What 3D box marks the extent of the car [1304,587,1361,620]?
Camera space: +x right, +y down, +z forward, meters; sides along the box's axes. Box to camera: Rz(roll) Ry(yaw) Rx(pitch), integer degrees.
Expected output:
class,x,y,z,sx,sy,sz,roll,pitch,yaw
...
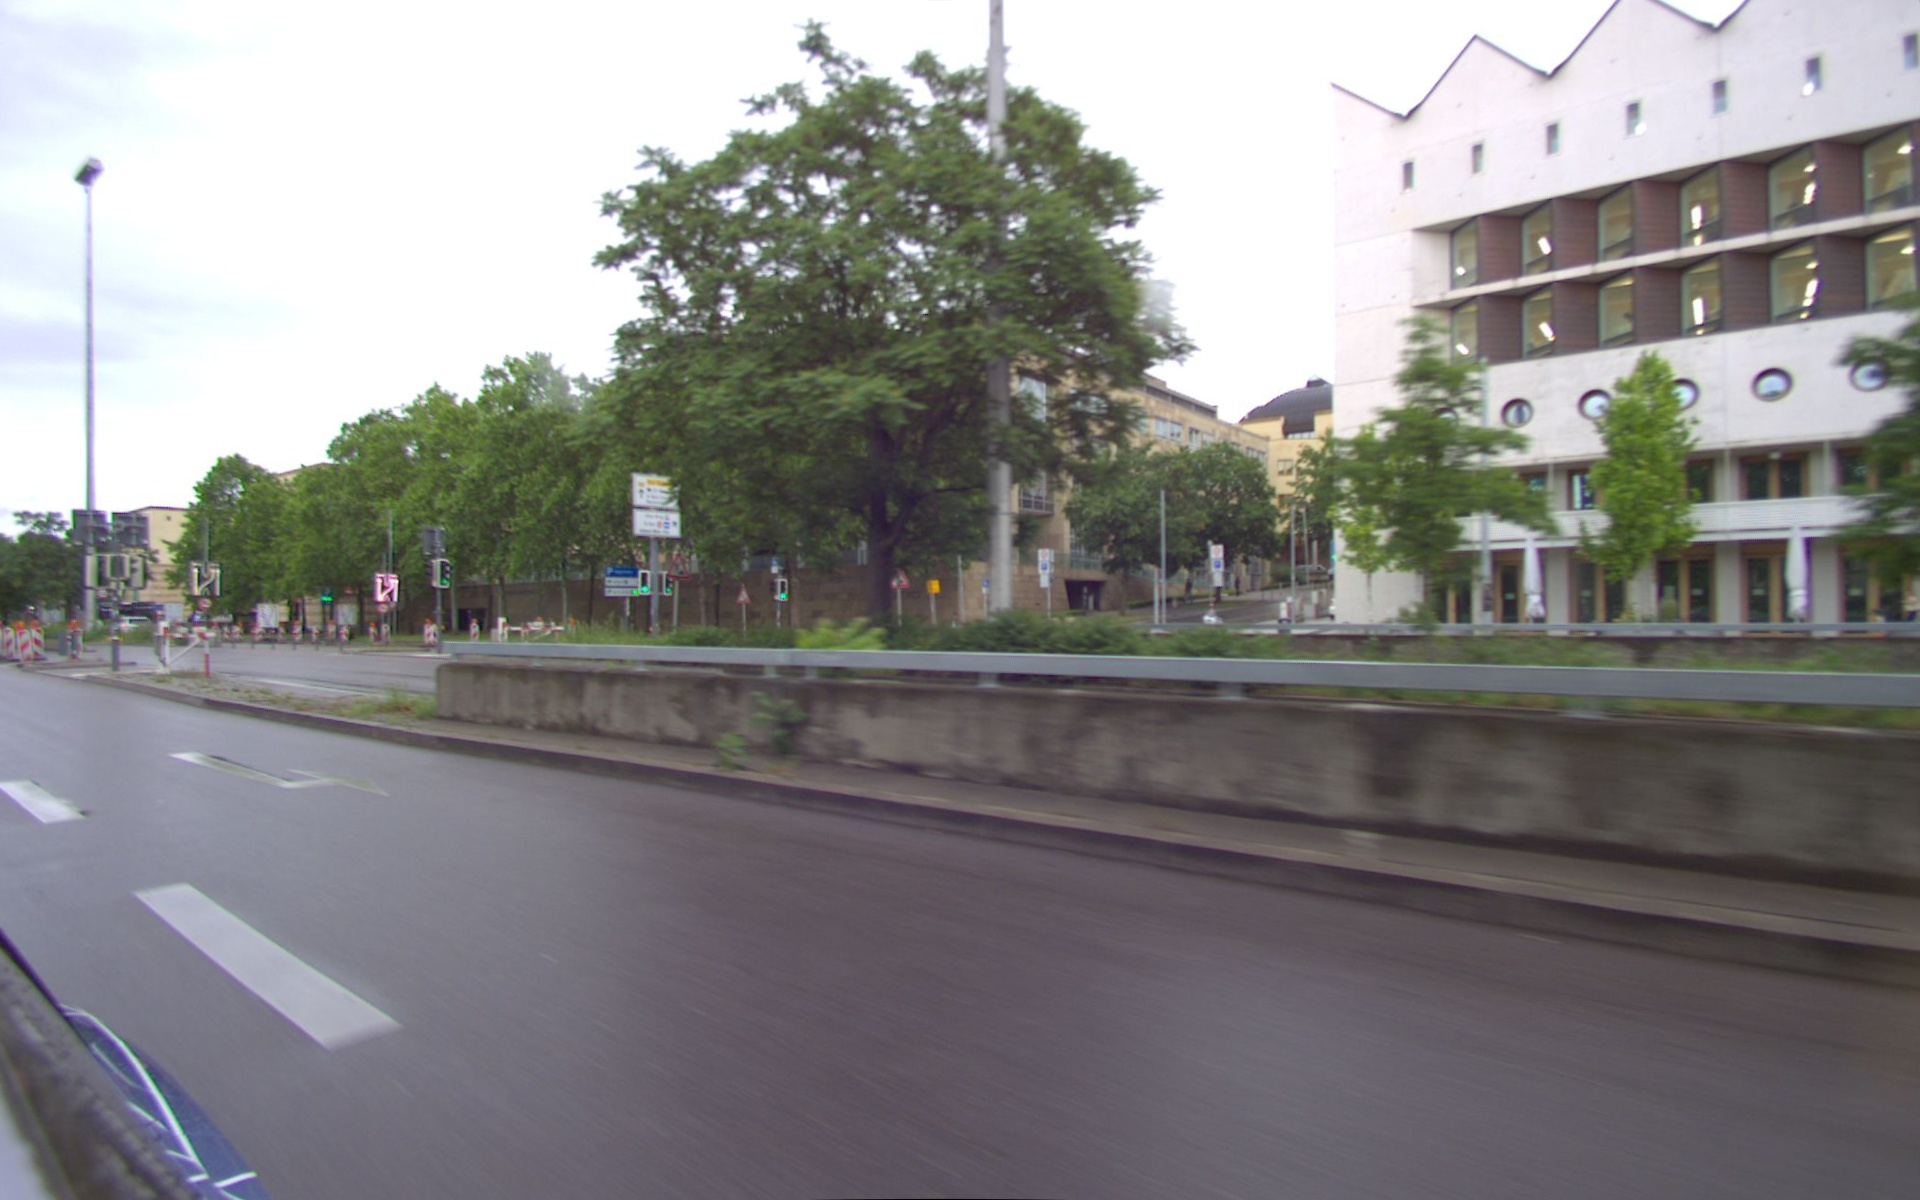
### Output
class,x,y,z,sx,sy,sz,roll,pitch,yaw
car,19.553,0.171,53.096,1.760,1.624,3.486,-1,0,39

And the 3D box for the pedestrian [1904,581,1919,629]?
class,x,y,z,sx,sy,sz,roll,pitch,yaw
pedestrian,31.052,0.154,32.777,0.651,1.526,0.671,-1,0,44

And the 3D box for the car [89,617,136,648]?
class,x,y,z,sx,sy,sz,roll,pitch,yaw
car,-65.516,2.498,78.222,4.223,2.316,1.975,-1,0,38

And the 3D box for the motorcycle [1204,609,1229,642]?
class,x,y,z,sx,sy,sz,roll,pitch,yaw
motorcycle,9.797,0.969,38.618,0.603,1.191,1.801,-1,0,25
